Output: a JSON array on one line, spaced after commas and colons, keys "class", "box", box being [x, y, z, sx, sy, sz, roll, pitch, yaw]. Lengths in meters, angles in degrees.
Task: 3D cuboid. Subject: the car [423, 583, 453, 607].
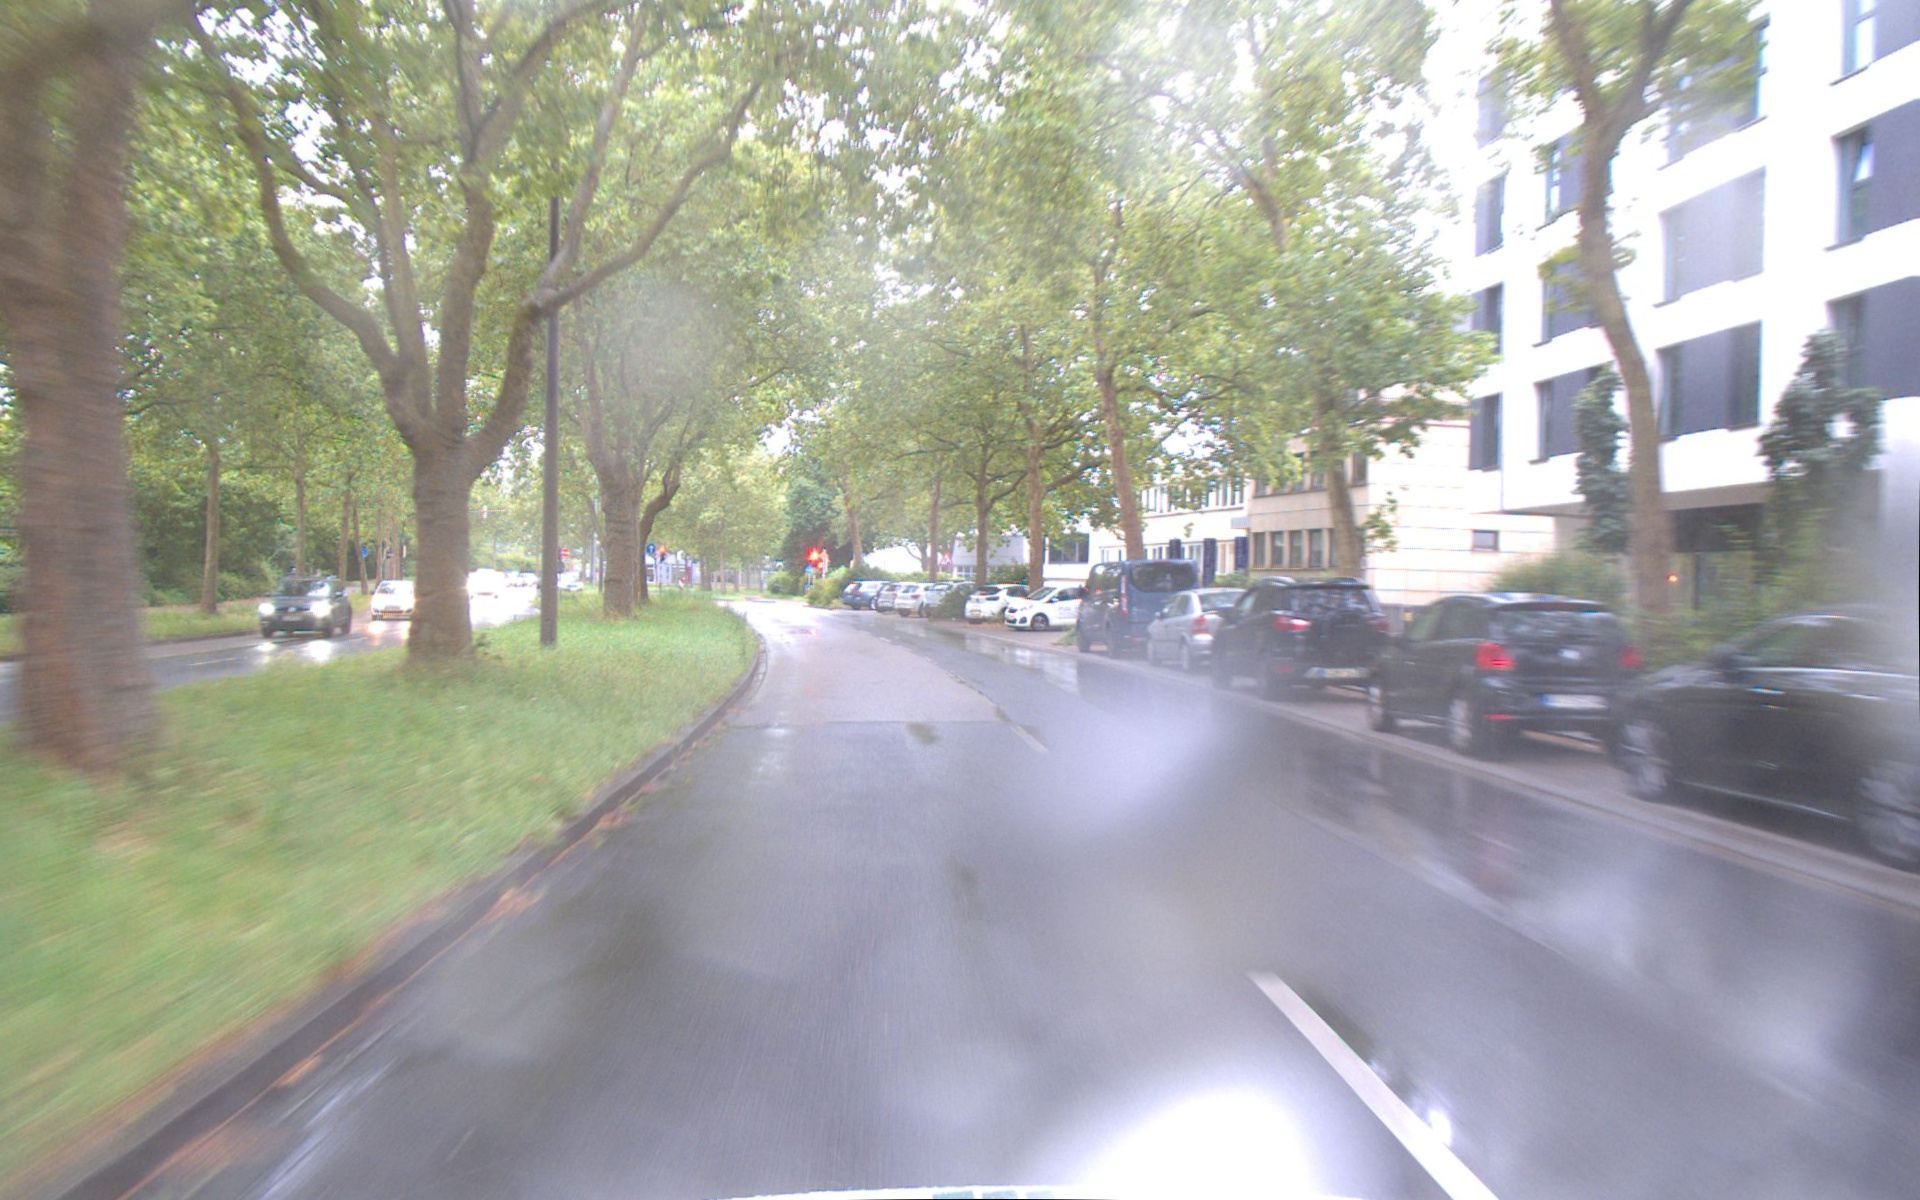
[{"class": "car", "box": [-35.014, -0.345, 111.011, 1.714, 1.502, 4.067, 1, 0, -15]}]

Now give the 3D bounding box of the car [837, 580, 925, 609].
[{"class": "car", "box": [-4.101, -0.270, 86.169, 4.449, 1.484, 1.726, 0, 0, -38]}]

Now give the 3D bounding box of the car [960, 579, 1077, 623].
[{"class": "car", "box": [2.053, 0.037, 57.780, 4.002, 1.453, 1.723, 0, 0, -41]}]

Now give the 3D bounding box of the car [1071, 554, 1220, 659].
[{"class": "car", "box": [3.868, 0.101, 35.557, 2.080, 2.063, 5.521, 1, 0, -5]}]

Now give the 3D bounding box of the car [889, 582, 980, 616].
[{"class": "car", "box": [-1.090, -0.038, 71.968, 3.654, 1.441, 1.726, 0, 0, -38]}]

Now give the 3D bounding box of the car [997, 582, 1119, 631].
[{"class": "car", "box": [3.177, 0.191, 53.549, 3.588, 1.530, 1.736, 0, 2, -25]}]

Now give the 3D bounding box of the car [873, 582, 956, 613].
[{"class": "car", "box": [-2.110, -0.116, 77.409, 3.660, 1.441, 1.749, 0, 0, -41]}]

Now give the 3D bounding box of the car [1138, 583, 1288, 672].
[{"class": "car", "box": [4.534, 0.447, 30.261, 1.709, 1.495, 4.301, 1, 0, -5]}]

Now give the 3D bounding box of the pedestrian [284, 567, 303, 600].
[{"class": "pedestrian", "box": [-35.063, -0.883, 87.036, 0.817, 1.703, 0.896, 1, 0, -16]}]

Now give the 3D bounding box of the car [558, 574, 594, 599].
[{"class": "car", "box": [-26.425, -0.941, 113.690, 1.720, 1.679, 4.275, 1, 0, -23]}]

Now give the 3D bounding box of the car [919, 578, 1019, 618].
[{"class": "car", "box": [0.384, -0.074, 66.970, 4.005, 1.566, 1.722, 0, 0, -43]}]

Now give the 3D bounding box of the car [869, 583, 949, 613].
[{"class": "car", "box": [-2.477, -0.100, 80.669, 3.660, 1.441, 1.723, 0, 0, -41]}]

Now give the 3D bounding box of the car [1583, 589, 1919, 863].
[{"class": "car", "box": [5.864, 0.671, 10.363, 1.709, 1.453, 5.100, 1, 0, -4]}]

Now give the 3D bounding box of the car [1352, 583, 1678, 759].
[{"class": "car", "box": [5.294, 0.602, 16.361, 1.708, 1.502, 4.081, 1, 0, -2]}]

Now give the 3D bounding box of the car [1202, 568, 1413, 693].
[{"class": "car", "box": [4.792, 0.379, 23.442, 1.709, 1.594, 4.367, 1, 0, -5]}]

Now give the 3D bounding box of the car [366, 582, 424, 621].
[{"class": "car", "box": [-22.104, 0.048, 64.788, 1.713, 1.485, 3.830, 1, 0, -13]}]

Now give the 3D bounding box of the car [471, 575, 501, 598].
[{"class": "car", "box": [-30.764, -0.881, 107.314, 1.716, 1.502, 4.388, 1, 0, -18]}]

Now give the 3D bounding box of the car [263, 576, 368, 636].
[{"class": "car", "box": [-17.989, 0.153, 46.358, 1.710, 1.588, 4.361, 1, 0, -7]}]
